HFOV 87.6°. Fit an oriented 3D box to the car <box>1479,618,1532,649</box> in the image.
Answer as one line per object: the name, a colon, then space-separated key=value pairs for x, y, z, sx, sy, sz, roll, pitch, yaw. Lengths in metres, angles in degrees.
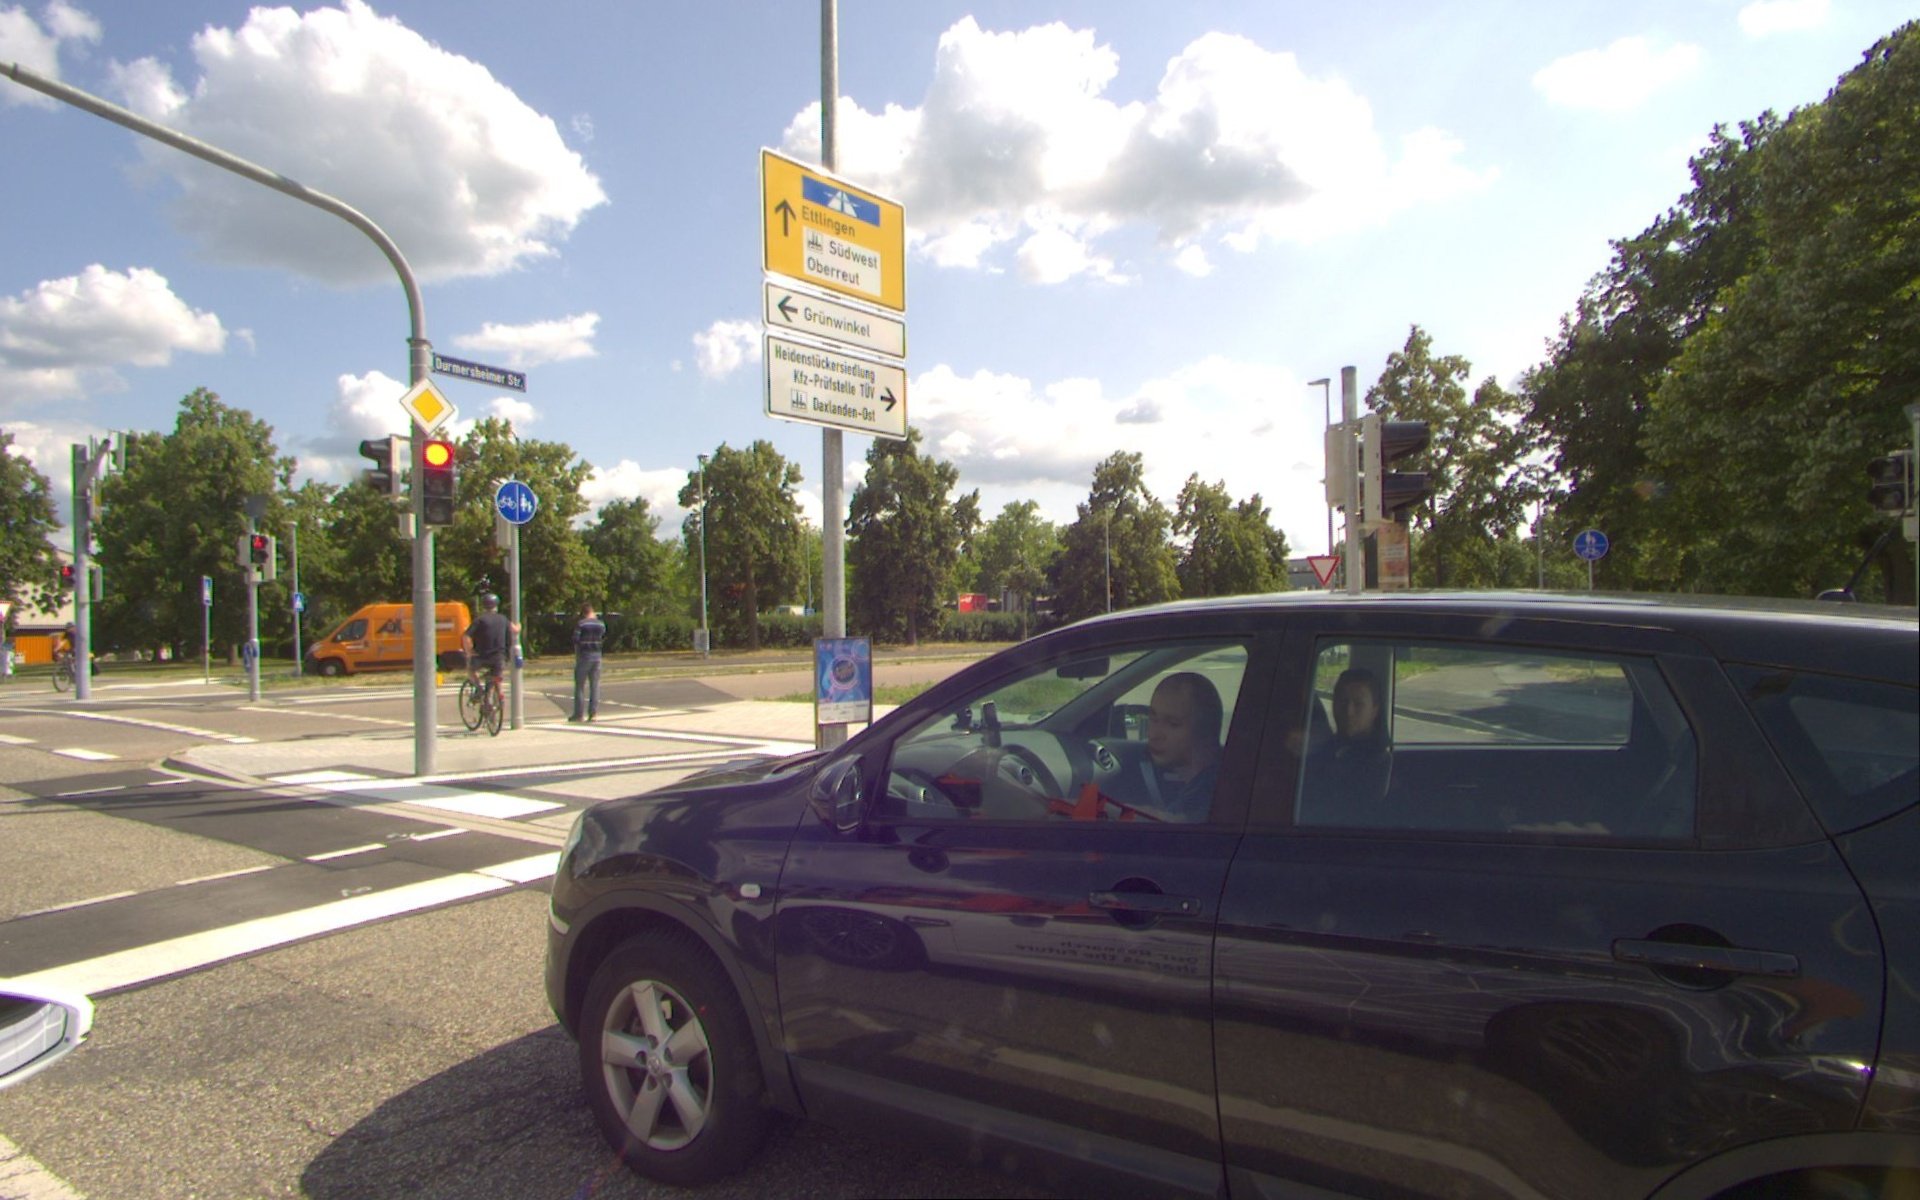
car: x=23.189 y=1.446 z=42.668 sx=1.886 sy=1.192 sz=3.767 roll=-2 pitch=-4 yaw=27

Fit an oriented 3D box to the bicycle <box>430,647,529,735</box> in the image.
bicycle: x=-6.557 y=1.208 z=13.618 sx=0.644 sy=1.121 sz=1.910 roll=3 pitch=-4 yaw=-43

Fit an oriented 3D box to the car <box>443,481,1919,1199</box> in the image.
car: x=0.601 y=0.711 z=2.784 sx=3.941 sy=1.571 sz=1.798 roll=-2 pitch=-4 yaw=31

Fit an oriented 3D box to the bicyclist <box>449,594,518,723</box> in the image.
bicyclist: x=-6.422 y=0.784 z=13.495 sx=0.644 sy=1.682 sz=0.644 roll=3 pitch=-4 yaw=-44

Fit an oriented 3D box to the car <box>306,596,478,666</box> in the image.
car: x=-19.152 y=1.113 z=34.054 sx=4.780 sy=2.253 sz=2.207 roll=1 pitch=-3 yaw=-22

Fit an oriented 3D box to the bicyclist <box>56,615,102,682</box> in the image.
bicyclist: x=-24.831 y=1.360 z=28.227 sx=0.673 sy=1.827 sz=0.788 roll=0 pitch=-1 yaw=-13

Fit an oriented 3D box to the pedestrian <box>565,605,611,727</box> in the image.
pedestrian: x=-5.648 y=0.999 z=15.190 sx=0.477 sy=1.800 sz=0.462 roll=-2 pitch=-3 yaw=42

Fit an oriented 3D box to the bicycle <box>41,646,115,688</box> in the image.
bicycle: x=-24.847 y=1.870 z=28.261 sx=0.673 sy=1.107 sz=2.002 roll=0 pitch=-2 yaw=-13
